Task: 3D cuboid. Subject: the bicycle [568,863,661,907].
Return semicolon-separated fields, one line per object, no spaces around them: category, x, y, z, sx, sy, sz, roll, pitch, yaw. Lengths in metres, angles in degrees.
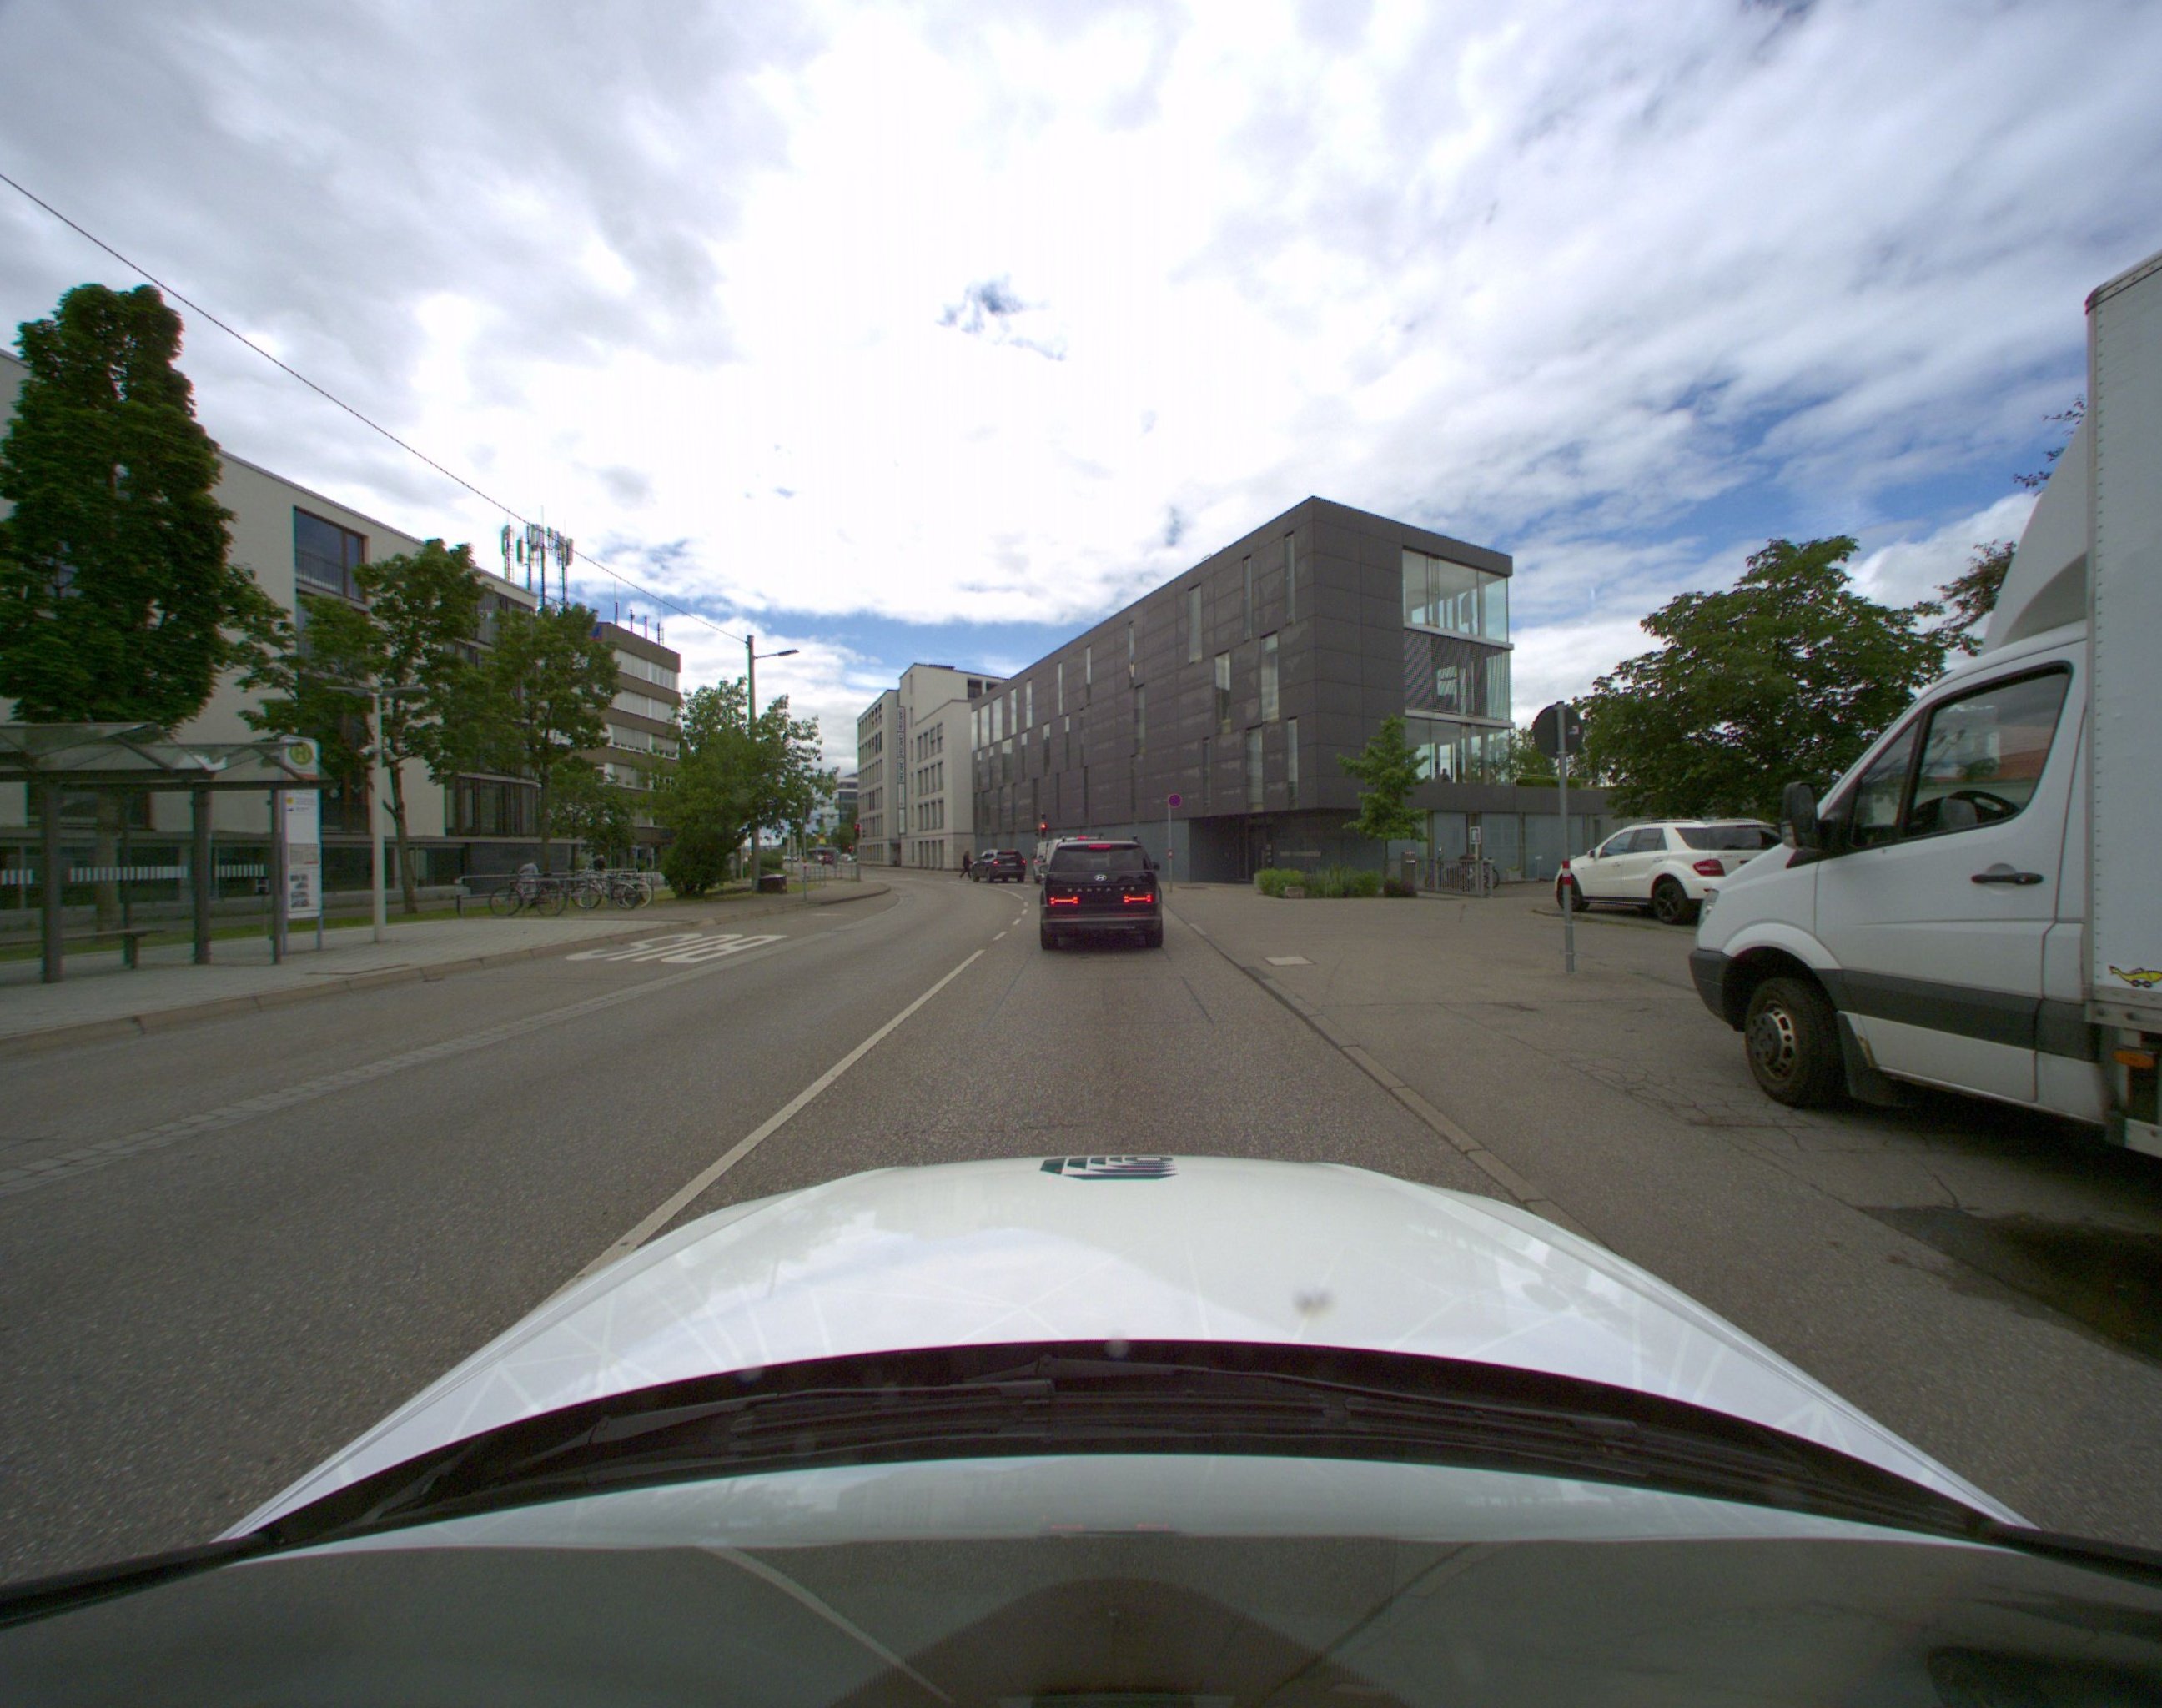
bicycle;-12.283;0.808;21.469;2.091;1.106;0.632;0;0;2

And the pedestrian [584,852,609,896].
pedestrian;-22.963;0.944;38.604;0.768;2.014;0.885;2;-1;-18

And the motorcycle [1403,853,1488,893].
motorcycle;12.114;0.608;27.184;0.850;1.260;2.672;-1;0;-25

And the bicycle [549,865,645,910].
bicycle;-12.315;0.838;20.745;2.091;1.106;0.632;0;0;1

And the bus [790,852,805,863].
bus;-82.499;0.938;236.989;3.097;2.928;10.260;1;0;-24

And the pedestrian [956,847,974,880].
pedestrian;-6.607;0.535;46.441;0.938;1.800;0.589;-1;0;-11

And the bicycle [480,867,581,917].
bicycle;-12.502;0.855;18.519;1.921;1.106;0.587;0;0;1

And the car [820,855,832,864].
car;-42.078;0.904;134.484;1.904;1.486;3.977;-1;0;-17

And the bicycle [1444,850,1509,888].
bicycle;13.703;0.489;28.253;0.617;1.260;2.085;-1;0;-25

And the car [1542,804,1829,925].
car;10.914;0.189;15.236;1.987;1.838;4.517;-3;-1;0

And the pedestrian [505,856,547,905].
pedestrian;-20.270;0.958;29.747;0.827;1.765;0.907;2;-1;1

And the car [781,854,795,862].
car;-62.395;0.924;173.341;1.865;1.695;3.957;-1;0;-35

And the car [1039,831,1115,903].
car;-0.231;0.360;25.949;1.854;2.033;4.426;-1;1;-7

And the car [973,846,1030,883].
car;-4.094;0.531;41.348;1.854;1.677;4.345;-2;0;-20

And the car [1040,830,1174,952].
car;0.320;0.523;13.768;1.910;1.725;4.167;1;0;-2

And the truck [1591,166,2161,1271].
truck;4.702;-0.435;1.714;2.563;3.525;7.814;-1;0;2
